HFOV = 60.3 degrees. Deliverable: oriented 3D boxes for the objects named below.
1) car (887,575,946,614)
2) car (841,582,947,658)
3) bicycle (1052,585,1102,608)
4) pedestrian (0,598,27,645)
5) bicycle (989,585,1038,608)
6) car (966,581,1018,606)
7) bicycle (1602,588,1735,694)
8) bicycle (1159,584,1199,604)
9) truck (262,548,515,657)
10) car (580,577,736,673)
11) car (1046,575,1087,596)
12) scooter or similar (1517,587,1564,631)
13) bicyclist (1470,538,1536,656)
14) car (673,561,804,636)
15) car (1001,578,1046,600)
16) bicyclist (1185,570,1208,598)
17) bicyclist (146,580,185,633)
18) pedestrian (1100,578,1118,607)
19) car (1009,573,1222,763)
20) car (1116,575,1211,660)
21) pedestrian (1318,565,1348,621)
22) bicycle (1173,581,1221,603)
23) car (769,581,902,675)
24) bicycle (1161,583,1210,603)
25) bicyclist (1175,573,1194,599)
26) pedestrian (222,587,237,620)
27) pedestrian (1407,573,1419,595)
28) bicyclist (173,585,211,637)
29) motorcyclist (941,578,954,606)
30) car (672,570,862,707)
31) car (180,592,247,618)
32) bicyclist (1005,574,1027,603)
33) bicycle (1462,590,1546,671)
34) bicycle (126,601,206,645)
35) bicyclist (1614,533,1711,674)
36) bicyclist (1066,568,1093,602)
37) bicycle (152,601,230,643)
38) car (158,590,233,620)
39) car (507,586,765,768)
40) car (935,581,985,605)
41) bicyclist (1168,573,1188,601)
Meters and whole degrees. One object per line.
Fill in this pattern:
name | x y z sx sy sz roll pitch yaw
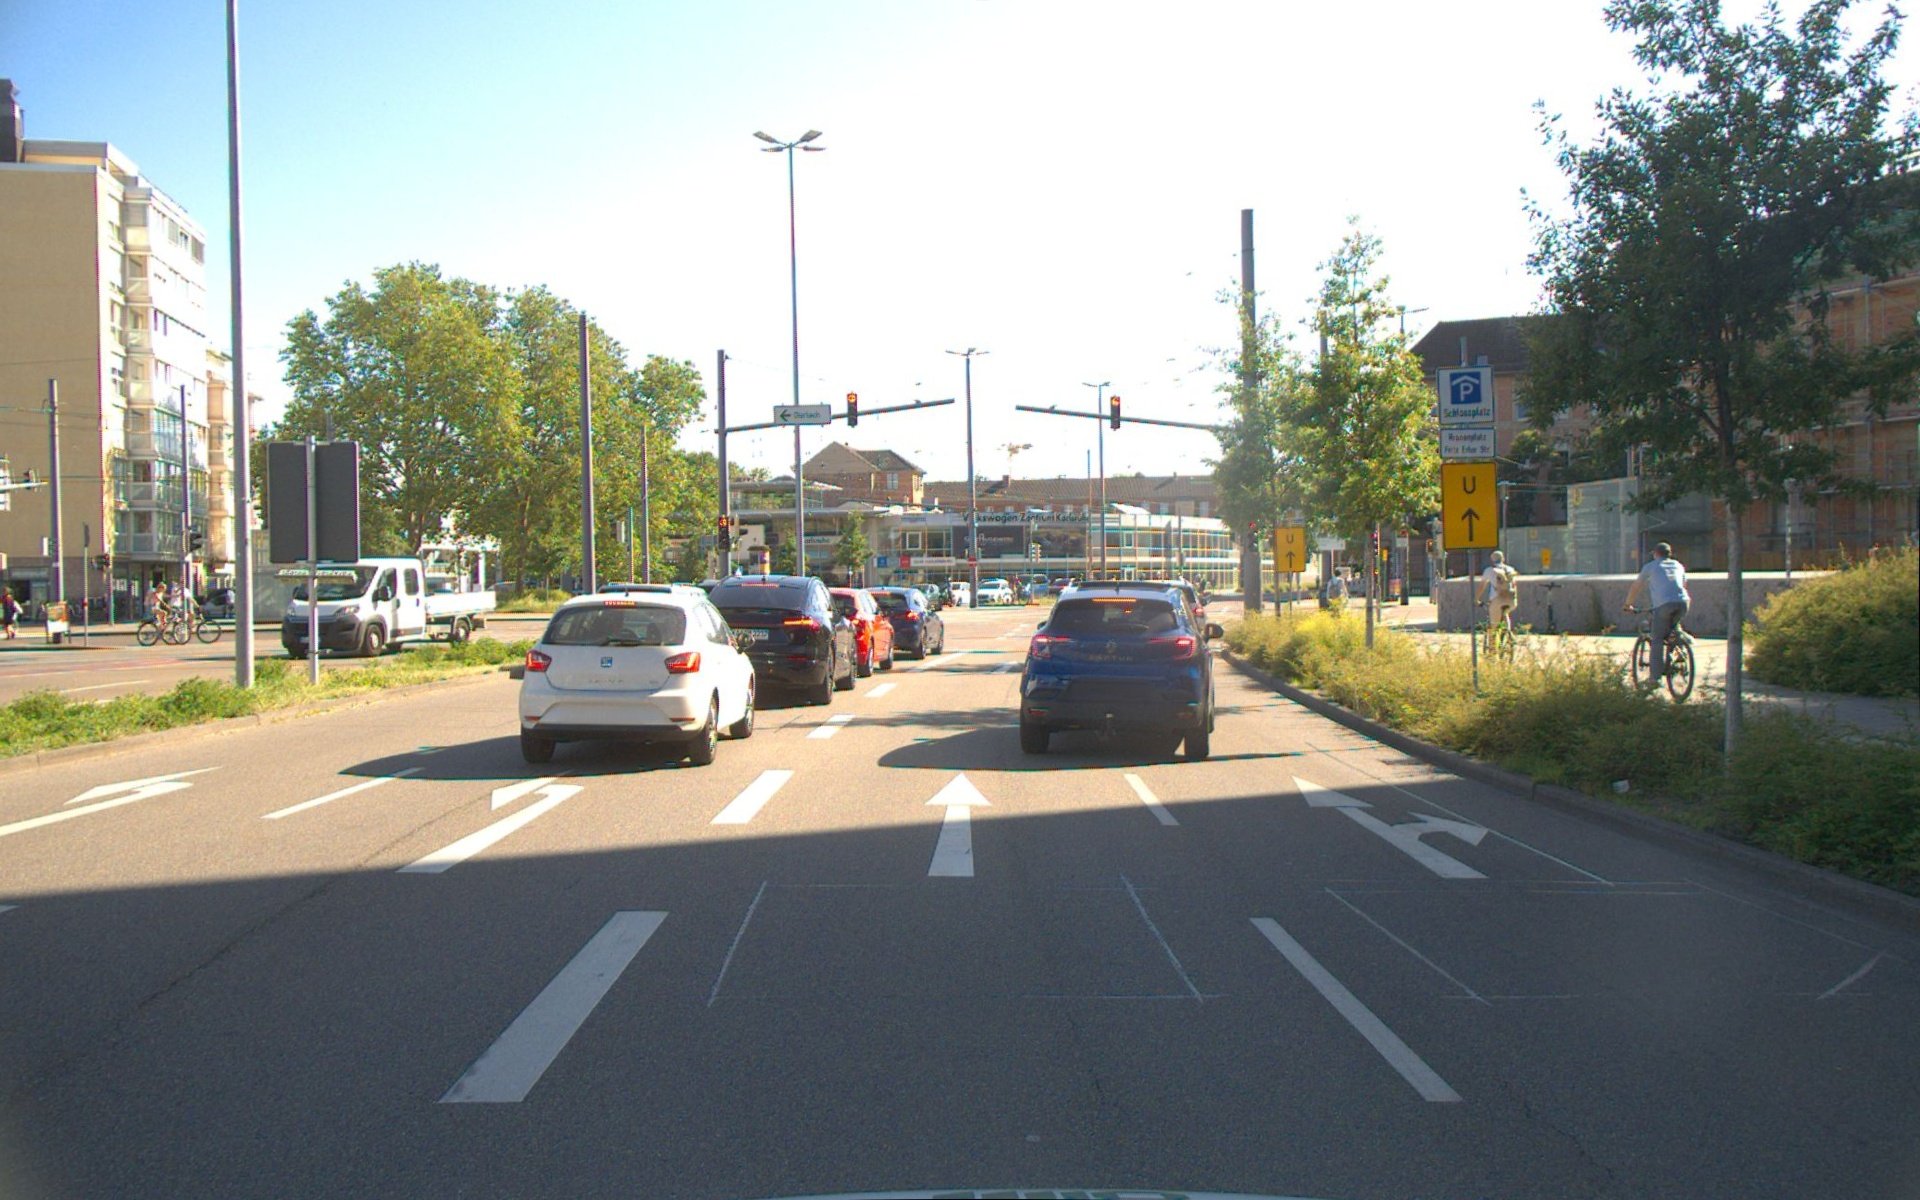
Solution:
car | -2.554 -0.354 97.039 1.953 2.048 3.999 1 3 24
car | -1.348 0.375 35.065 1.688 1.467 3.801 1 1 6
bicycle | 6.419 -0.207 90.851 2.607 1.209 0.942 -1 3 -20
pedestrian | -30.134 0.677 52.634 0.582 1.432 0.567 -1 2 -11
bicycle | 3.027 -0.221 93.563 2.600 1.209 0.945 -1 3 -13
car | 1.968 -0.428 100.683 1.690 1.467 4.183 0 0 23
bicycle | 8.467 0.464 19.842 0.702 1.185 1.869 -1 1 -3
bicycle | 12.575 -0.328 95.005 2.140 1.114 0.756 -1 0 -12
truck | -13.380 0.018 39.378 2.167 2.354 6.889 -1 0 15
car | -5.066 0.374 28.185 1.689 1.467 3.801 1 1 4
car | 7.817 -1.085 121.464 1.690 1.467 4.183 2 1 23
scooter or similar | 14.489 0.214 41.311 0.459 1.030 1.244 -1 3 -16
bicyclist | 8.456 -0.059 25.773 0.705 1.793 0.978 -1 1 1
car | -4.682 -0.056 35.429 1.688 1.467 3.913 2 1 9
car | 4.440 -0.784 114.817 1.690 1.467 4.183 2 1 23
bicyclist | 13.778 -0.947 96.339 1.044 1.611 0.945 -1 3 -12
bicyclist | -22.063 0.177 45.934 0.758 1.469 0.643 0 0 4
pedestrian | 8.689 -0.467 96.355 0.845 1.638 0.692 -2 3 -44
car | 1.679 0.575 16.653 1.836 1.646 3.801 1 1 10
car | 4.216 0.326 34.162 1.837 1.646 3.628 1 0 7
pedestrian | 11.708 -0.213 51.930 0.585 1.753 0.865 -2 -2 41
bicycle | 13.805 -0.466 96.336 2.600 1.209 0.945 -1 3 -13
car | -2.085 0.435 28.600 1.636 1.467 3.724 1 1 6
bicycle | 12.773 -0.415 93.729 2.589 1.114 0.969 -1 0 0
bicyclist | 12.729 -0.809 93.725 0.942 1.474 0.969 -1 0 0
pedestrian | -38.122 0.183 86.265 0.597 1.638 0.796 -1 3 -18
pedestrian | 30.554 -1.077 111.592 0.586 1.434 0.800 0 2 0
bicyclist | -21.804 0.305 46.967 0.758 1.469 0.643 0 0 3
motorcyclist | -0.747 -0.462 96.279 0.538 1.649 0.745 -1 0 19
car | -2.485 0.450 22.402 1.943 1.652 4.379 1 1 1
car | -42.167 0.296 93.525 3.208 1.339 1.520 -1 3 -15
bicyclist | 3.154 -0.666 93.560 1.044 1.611 0.945 -1 3 -12
bicycle | 8.461 0.453 25.794 0.730 1.185 1.871 -1 1 2
bicycle | -22.042 0.638 45.938 1.910 1.185 0.643 0 0 3
bicyclist | 8.455 0.037 19.937 0.705 1.645 0.977 -1 1 -3
bicyclist | 6.563 -0.812 90.893 1.166 1.807 0.942 -1 3 -20
bicycle | -21.830 0.624 46.968 1.910 1.185 0.643 0 0 3
car | -41.128 0.265 89.020 3.375 1.537 1.686 -1 0 -15
car | -2.869 0.616 15.374 1.656 1.461 3.736 1 0 0
car | 0.028 -0.431 103.883 1.690 1.467 4.183 0 0 23
bicyclist | 12.528 -0.739 94.985 0.968 1.632 0.757 -1 0 -12
